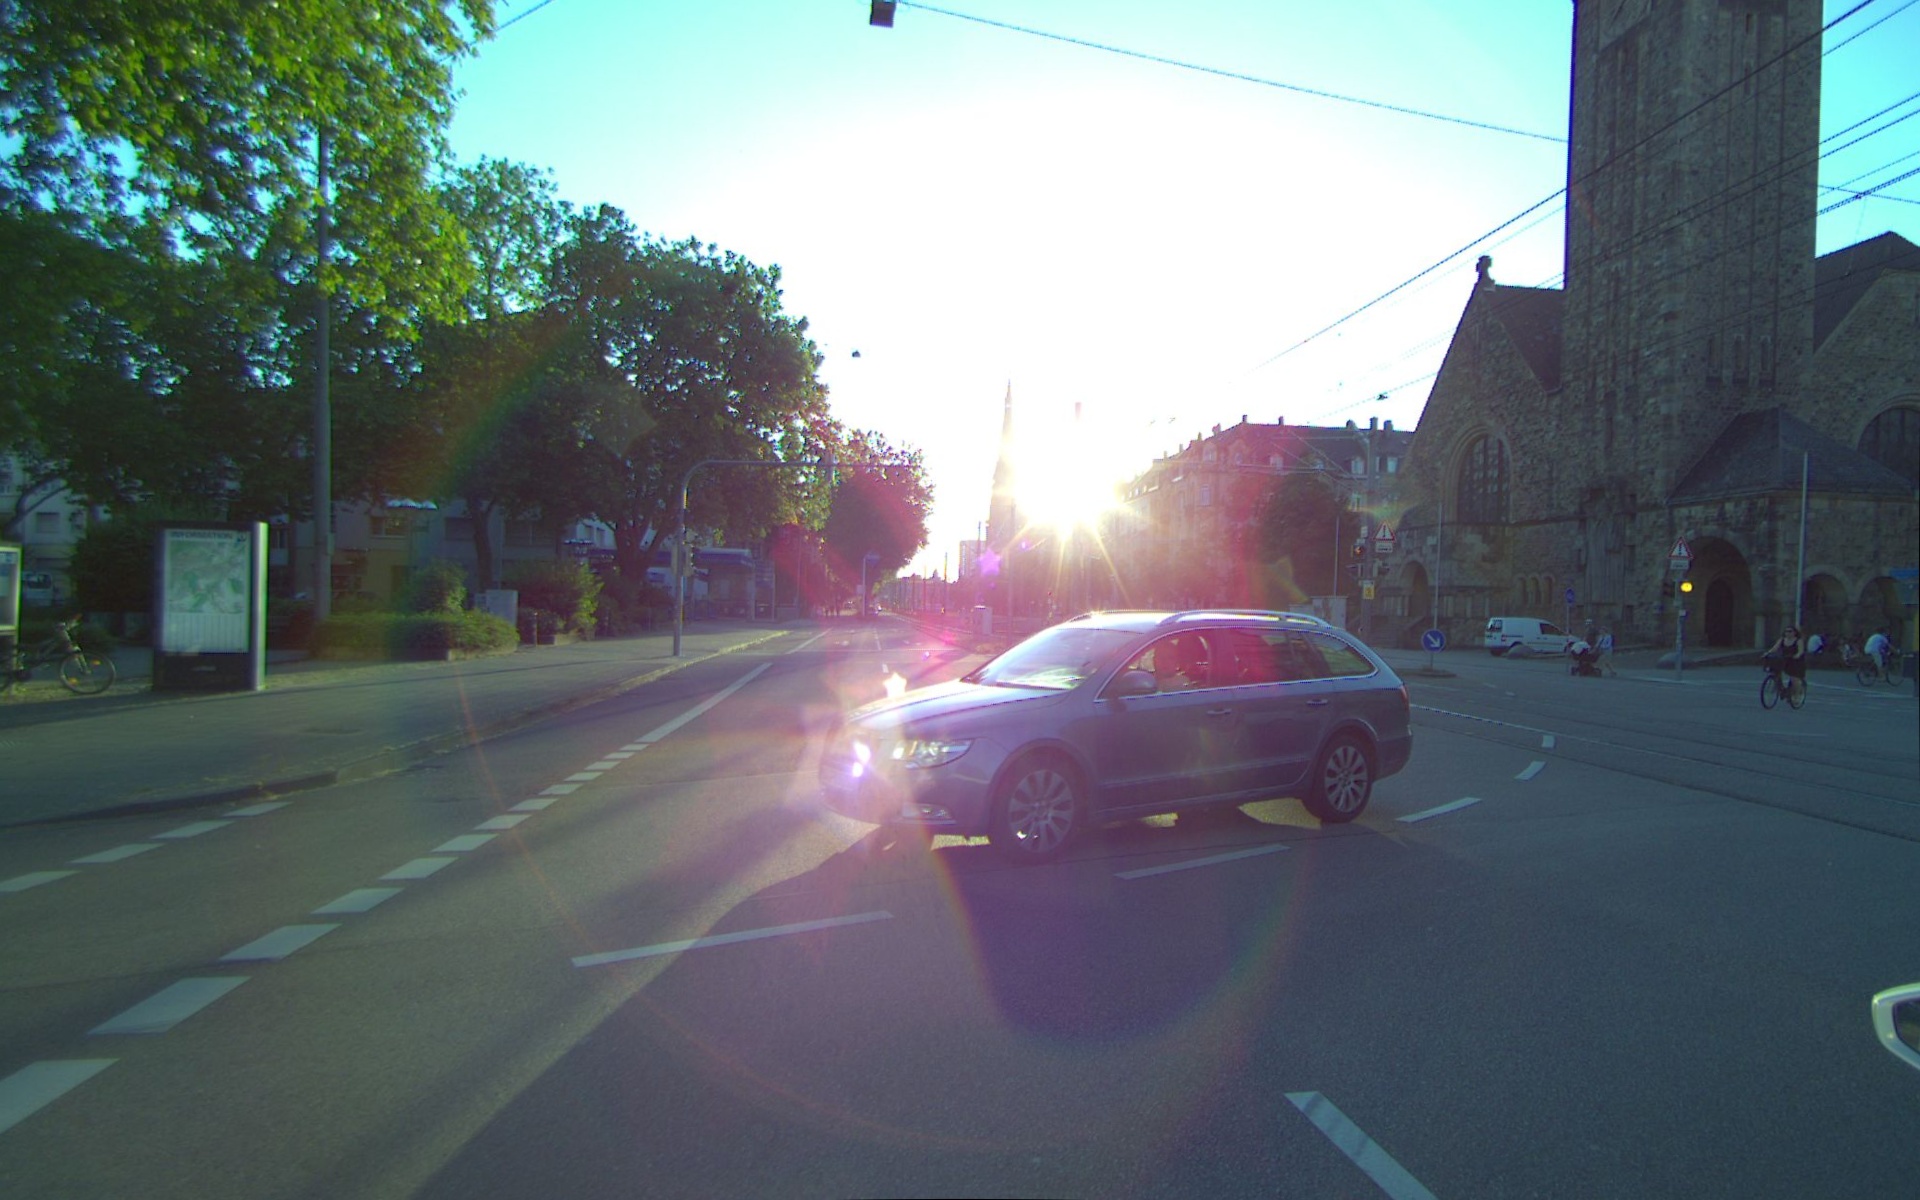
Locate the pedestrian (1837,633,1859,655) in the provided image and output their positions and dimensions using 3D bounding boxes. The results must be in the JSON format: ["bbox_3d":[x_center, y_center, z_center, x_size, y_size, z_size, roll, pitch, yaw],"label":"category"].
[{"bbox_3d":[39.935,1.977,45.175,0.703,0.973,0.548,2,1,-36],"label":"pedestrian"}]

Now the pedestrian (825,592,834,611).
[{"bbox_3d":[-14.506,0.142,111.652,0.837,2.040,0.712,2,1,-9],"label":"pedestrian"}]

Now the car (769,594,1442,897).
[{"bbox_3d":[1.199,0.827,7.346,4.715,1.578,1.983,2,-1,-32],"label":"car"}]

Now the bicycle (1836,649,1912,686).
[{"bbox_3d":[28.920,2.128,31.790,2.207,1.092,0.657,1,1,-14],"label":"bicycle"}]

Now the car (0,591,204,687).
[{"bbox_3d":[-18.152,0.756,20.012,4.551,1.805,1.999,0,-1,-4],"label":"car"}]

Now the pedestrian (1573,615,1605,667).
[{"bbox_3d":[21.381,1.392,34.164,0.592,1.721,0.634,2,1,-14],"label":"pedestrian"}]

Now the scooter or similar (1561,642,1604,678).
[{"bbox_3d":[20.630,1.987,33.307,1.061,1.118,0.633,2,1,-18],"label":"scooter or similar"}]

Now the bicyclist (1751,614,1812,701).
[{"bbox_3d":[16.356,1.137,19.996,0.952,1.666,0.596,2,1,-31],"label":"bicyclist"}]

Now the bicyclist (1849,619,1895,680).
[{"bbox_3d":[28.855,1.562,31.775,0.845,1.852,0.657,2,1,-14],"label":"bicyclist"}]

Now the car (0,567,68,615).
[{"bbox_3d":[-40.730,-0.372,42.160,4.556,1.964,1.997,0,-1,-9],"label":"car"}]

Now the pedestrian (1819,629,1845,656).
[{"bbox_3d":[32.571,1.598,37.523,0.471,0.973,0.522,2,1,-10],"label":"pedestrian"}]

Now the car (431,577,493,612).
[{"bbox_3d":[-28.617,-0.307,57.820,1.882,1.873,3.995,2,0,-6],"label":"car"}]

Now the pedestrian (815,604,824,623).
[{"bbox_3d":[-15.626,1.475,111.649,0.837,2.040,0.712,2,1,-9],"label":"pedestrian"}]

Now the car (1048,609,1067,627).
[{"bbox_3d":[12.538,2.313,129.372,1.961,2.040,3.998,2,0,-2],"label":"car"}]

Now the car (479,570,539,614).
[{"bbox_3d":[-25.976,-0.442,58.016,1.963,2.375,3.995,2,0,-6],"label":"car"}]

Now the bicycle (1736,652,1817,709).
[{"bbox_3d":[16.323,1.589,20.076,1.923,1.057,0.596,2,1,-31],"label":"bicycle"}]

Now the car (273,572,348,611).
[{"bbox_3d":[-36.918,-0.477,57.186,1.963,2.040,3.995,2,0,-7],"label":"car"}]

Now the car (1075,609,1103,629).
[{"bbox_3d":[14.551,2.090,113.601,1.964,2.040,3.993,2,0,-9],"label":"car"}]

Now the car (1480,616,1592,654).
[{"bbox_3d":[27.164,1.654,47.439,4.371,1.537,1.718,2,1,-5],"label":"car"}]

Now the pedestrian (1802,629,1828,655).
[{"bbox_3d":[32.517,1.591,38.206,0.471,0.973,0.522,2,1,-10],"label":"pedestrian"}]

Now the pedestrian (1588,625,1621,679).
[{"bbox_3d":[21.503,1.730,33.505,0.593,1.721,0.633,2,1,-18],"label":"pedestrian"}]

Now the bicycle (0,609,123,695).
[{"bbox_3d":[-12.435,0.687,13.478,1.779,1.107,0.455,2,1,-32],"label":"bicycle"}]

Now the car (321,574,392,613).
[{"bbox_3d":[-34.598,-0.377,57.681,1.963,2.040,3.995,2,0,-7],"label":"car"}]

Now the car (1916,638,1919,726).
[{"bbox_3d":[18.654,1.449,17.416,4.091,1.496,1.984,2,-1,-31],"label":"car"}]

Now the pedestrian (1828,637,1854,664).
[{"bbox_3d":[33.507,1.914,38.210,0.513,0.973,0.479,2,1,1],"label":"pedestrian"}]
